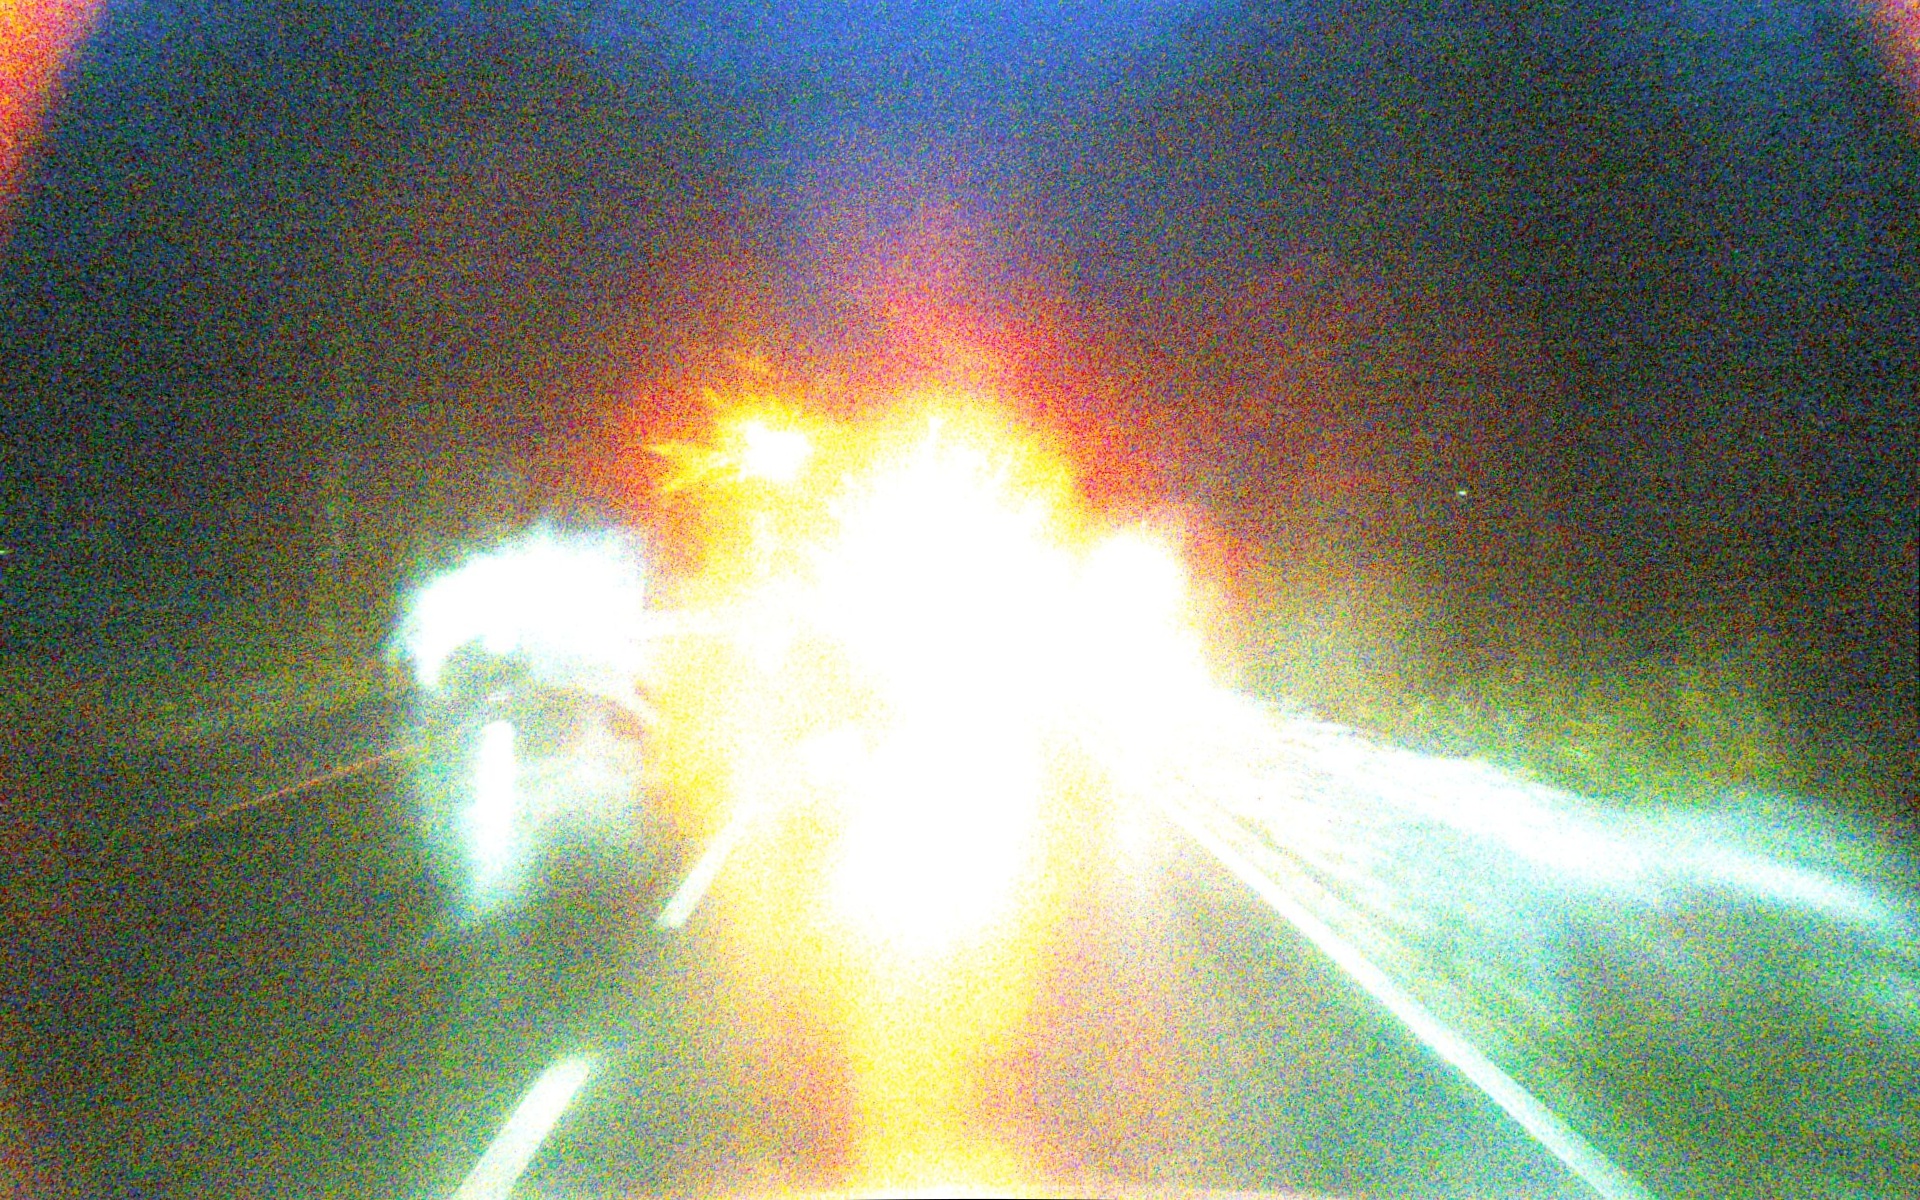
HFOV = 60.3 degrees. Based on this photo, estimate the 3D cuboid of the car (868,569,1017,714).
[{"bbox_3d":[-0.180,0.470,21.580,1.754,1.710,3.905,0,1,1],"label":"car"}]
